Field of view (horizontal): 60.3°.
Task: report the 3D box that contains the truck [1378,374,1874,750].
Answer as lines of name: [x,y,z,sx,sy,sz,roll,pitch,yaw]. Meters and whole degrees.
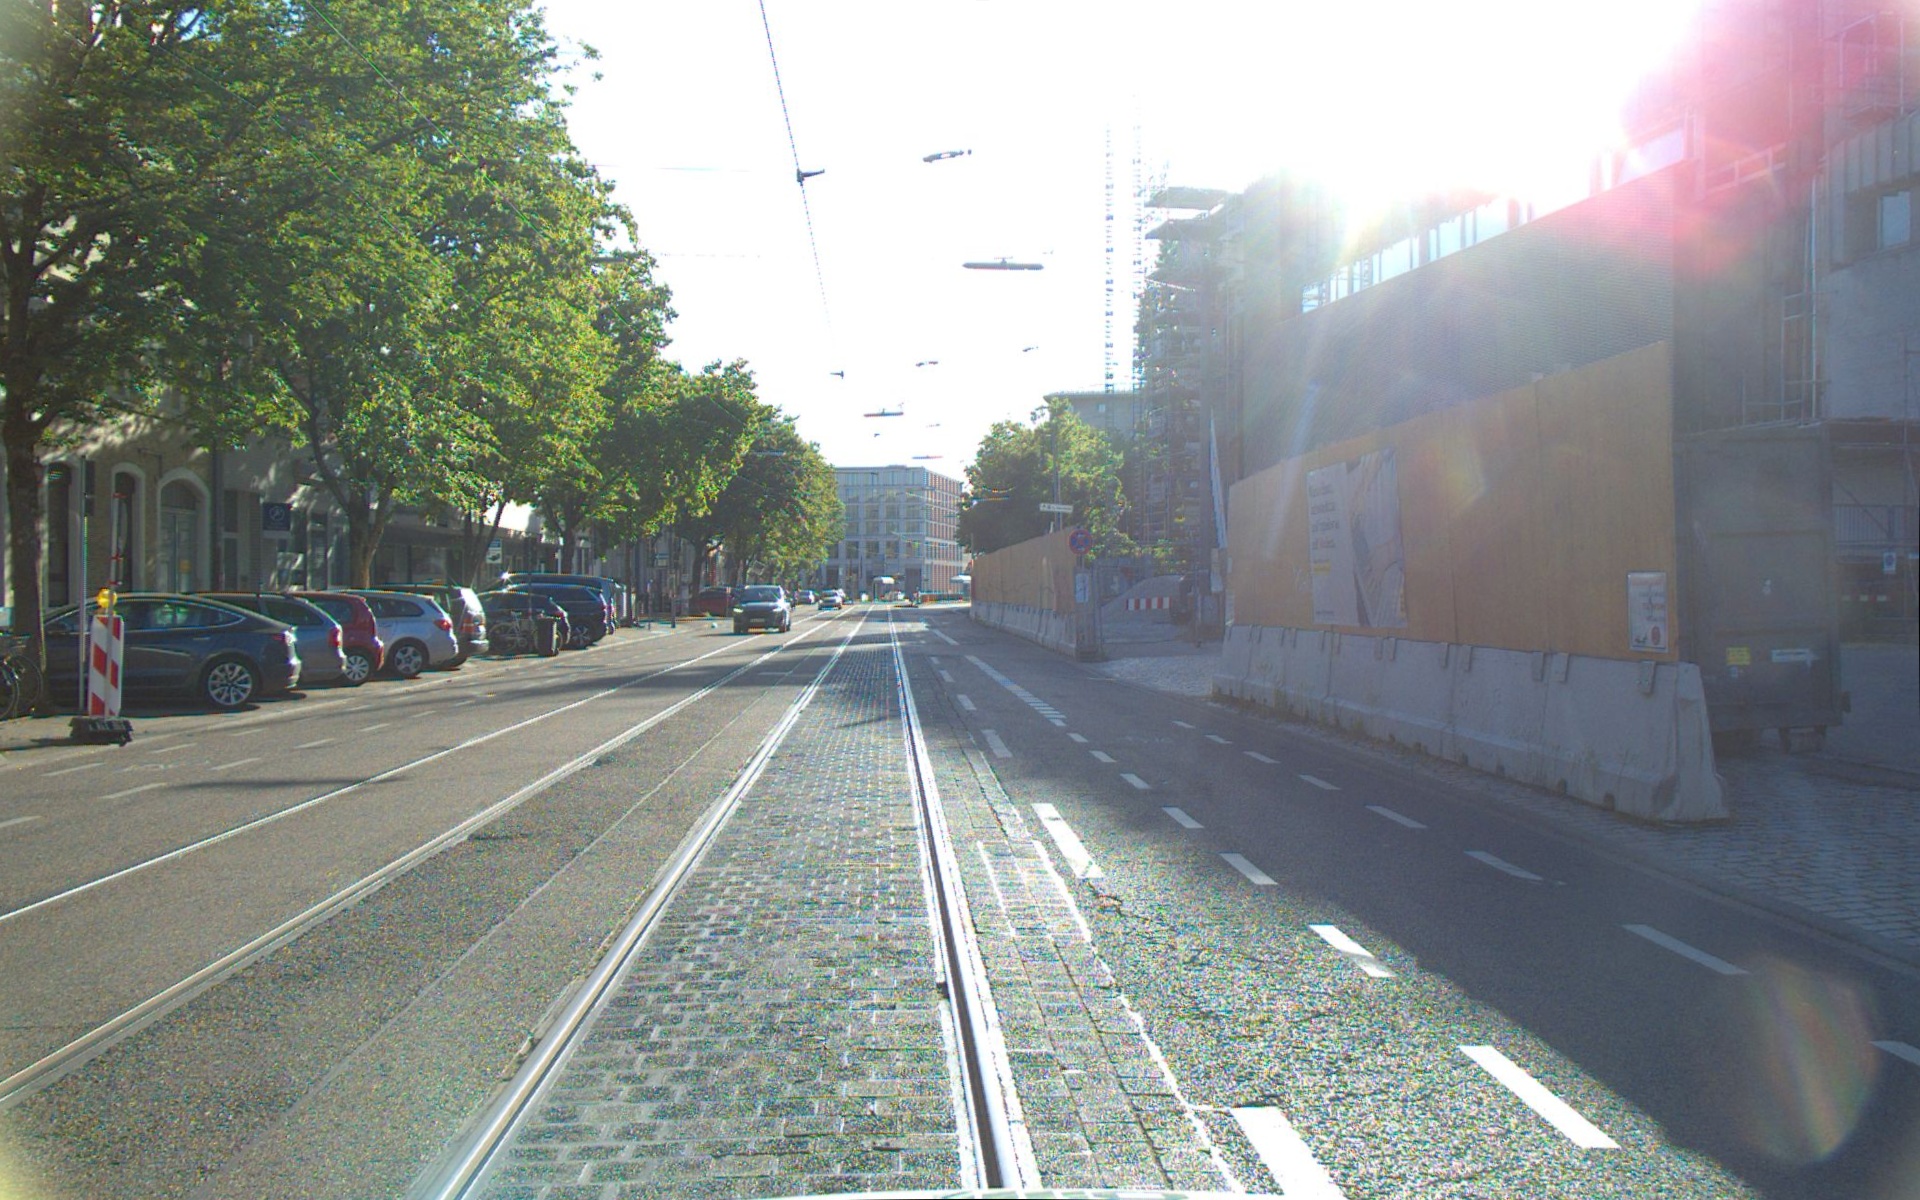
truck: [6.206,-0.347,16.409,2.469,2.959,5.506,-3,1,-1]

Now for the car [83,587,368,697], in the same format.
car: [-10.782,0.599,24.312,3.636,1.496,1.735,1,0,-32]

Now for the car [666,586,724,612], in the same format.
car: [-14.319,-0.064,89.396,2.903,1.355,1.203,-2,1,-31]

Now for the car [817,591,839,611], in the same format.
car: [-10.142,0.028,127.041,1.676,1.461,4.167,-1,1,-5]

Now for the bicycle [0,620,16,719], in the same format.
bicycle: [-11.389,0.805,18.314,0.328,1.114,1.584,-1,1,42]

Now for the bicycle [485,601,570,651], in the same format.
bicycle: [-10.528,0.635,40.248,1.937,1.164,0.489,1,0,-21]

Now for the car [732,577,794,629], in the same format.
car: [-6.970,0.062,58.965,1.890,1.657,4.246,-3,2,-4]

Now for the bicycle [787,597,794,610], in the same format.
bicycle: [-11.896,0.244,116.326,0.440,0.896,1.898,-1,1,-7]

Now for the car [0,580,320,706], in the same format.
car: [-10.747,0.536,21.713,4.144,1.517,1.924,1,1,-30]

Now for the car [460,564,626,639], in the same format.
car: [-11.835,0.053,46.984,4.297,2.021,1.934,1,0,-25]

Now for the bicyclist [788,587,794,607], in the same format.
bicyclist: [-11.889,-0.229,116.369,0.449,1.402,0.639,-1,0,-7]

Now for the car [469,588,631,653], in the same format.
car: [-10.417,0.487,41.959,3.800,1.502,1.832,-1,1,-21]

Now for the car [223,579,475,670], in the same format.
car: [-11.087,0.436,30.052,4.059,1.539,1.823,1,1,-29]

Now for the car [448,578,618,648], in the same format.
car: [-11.492,0.315,44.524,4.179,1.714,1.798,-2,1,-24]

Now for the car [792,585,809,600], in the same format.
car: [-16.444,-0.746,170.739,1.541,1.516,3.998,-1,0,-2]

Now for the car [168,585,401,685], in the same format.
car: [-11.076,0.558,27.150,3.328,1.519,1.596,1,1,-31]

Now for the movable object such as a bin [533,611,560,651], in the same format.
movable object such as a bin: [-9.953,0.751,39.782,0.566,0.929,0.572,1,1,-19]

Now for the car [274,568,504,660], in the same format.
car: [-11.484,0.271,33.495,4.024,1.707,1.839,2,0,-5]
